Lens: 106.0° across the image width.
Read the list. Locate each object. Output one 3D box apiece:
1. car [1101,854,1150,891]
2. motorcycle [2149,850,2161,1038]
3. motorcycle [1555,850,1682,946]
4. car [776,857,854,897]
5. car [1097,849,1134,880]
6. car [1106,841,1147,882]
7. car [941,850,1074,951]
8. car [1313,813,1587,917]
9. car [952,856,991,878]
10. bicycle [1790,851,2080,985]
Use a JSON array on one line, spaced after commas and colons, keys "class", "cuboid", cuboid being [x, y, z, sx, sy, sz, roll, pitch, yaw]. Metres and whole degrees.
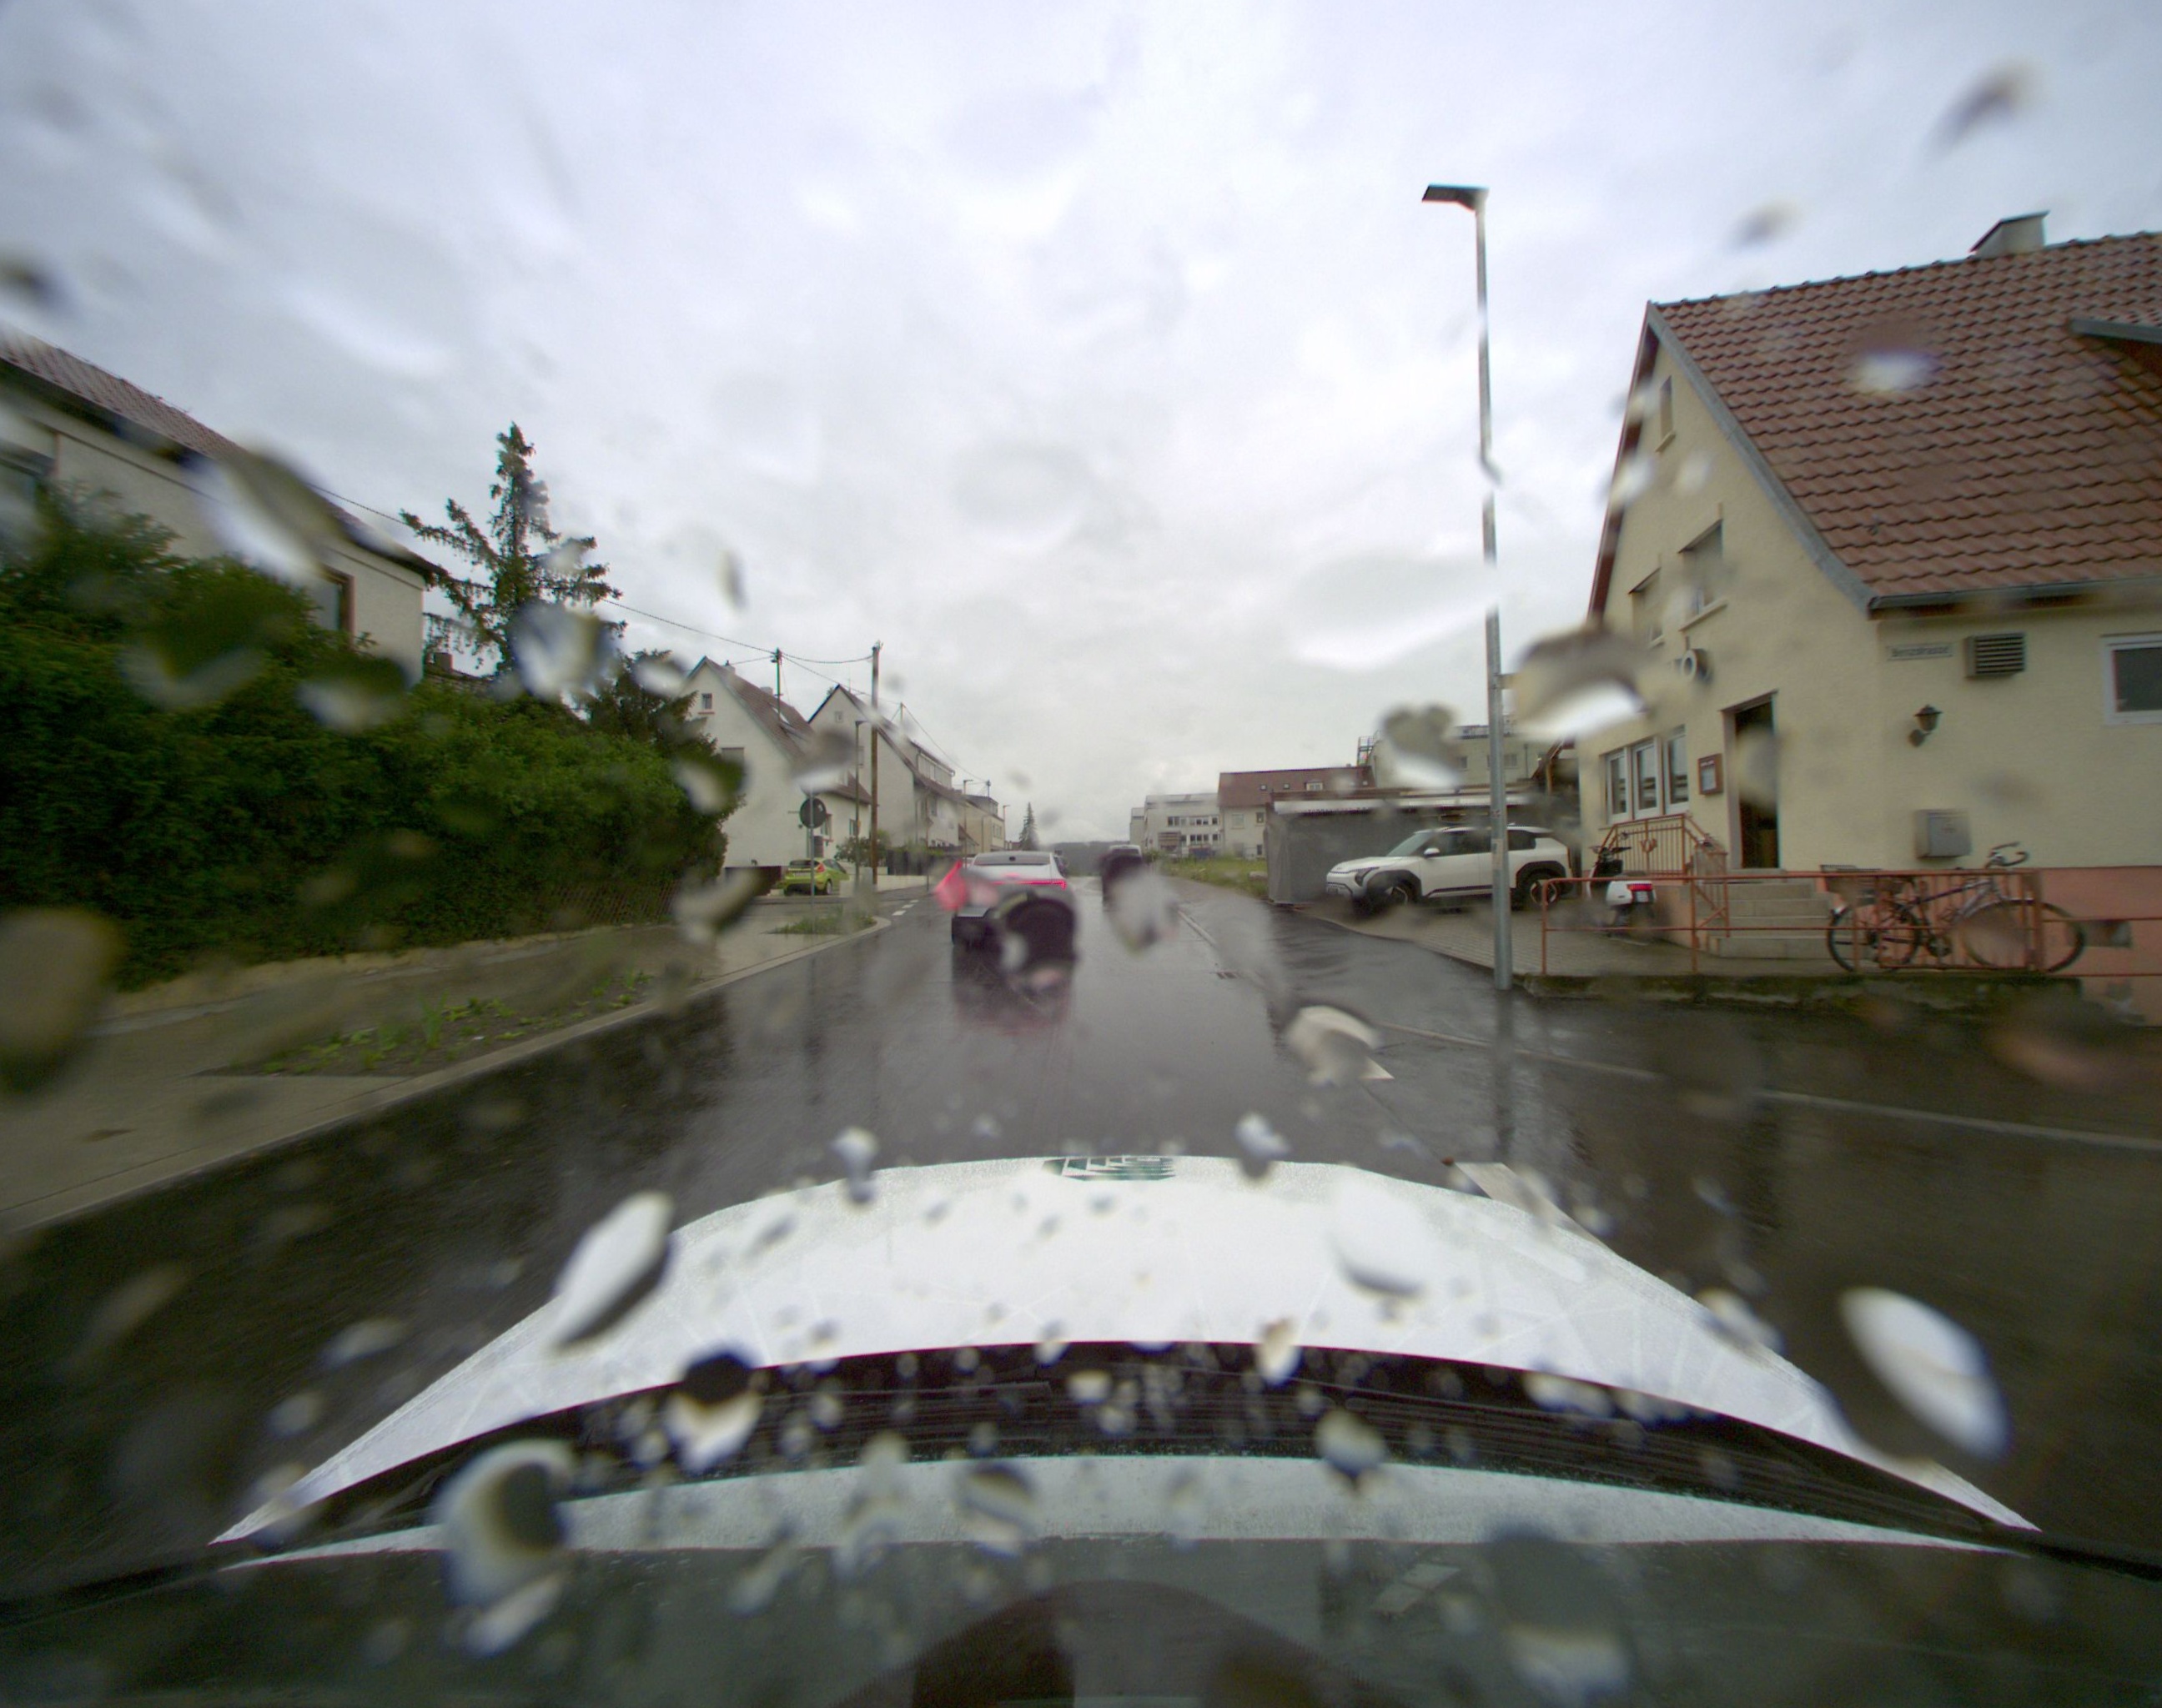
[{"class": "car", "cuboid": [1.660, 0.677, 31.415, 1.762, 1.336, 4.322, 0, -1, 1]}, {"class": "motorcycle", "cuboid": [9.299, 0.690, 5.891, 2.018, 1.456, 0.491, -1, -1, 14]}, {"class": "motorcycle", "cuboid": [6.799, 0.507, 10.427, 0.485, 1.096, 2.004, 0, 0, 6]}, {"class": "car", "cuboid": [-10.297, 0.886, 31.805, 1.771, 1.467, 3.458, -1, -2, 2]}, {"class": "car", "cuboid": [1.829, 0.561, 44.564, 1.638, 1.575, 4.639, 0, -1, -2]}, {"class": "car", "cuboid": [2.067, 0.352, 38.126, 1.762, 1.825, 4.575, 0, -1, 1]}, {"class": "car", "cuboid": [-1.219, 0.731, 14.700, 1.989, 1.502, 4.665, -1, -1, -3]}, {"class": "car", "cuboid": [6.696, 0.202, 15.120, 4.203, 1.610, 1.860, -3, -1, 0]}, {"class": "car", "cuboid": [-8.073, 0.952, 60.496, 1.986, 1.510, 4.897, 2, -1, 2]}, {"class": "bicycle", "cuboid": [7.411, 0.526, 7.144, 1.757, 1.096, 0.491, 0, 0, 15]}]
